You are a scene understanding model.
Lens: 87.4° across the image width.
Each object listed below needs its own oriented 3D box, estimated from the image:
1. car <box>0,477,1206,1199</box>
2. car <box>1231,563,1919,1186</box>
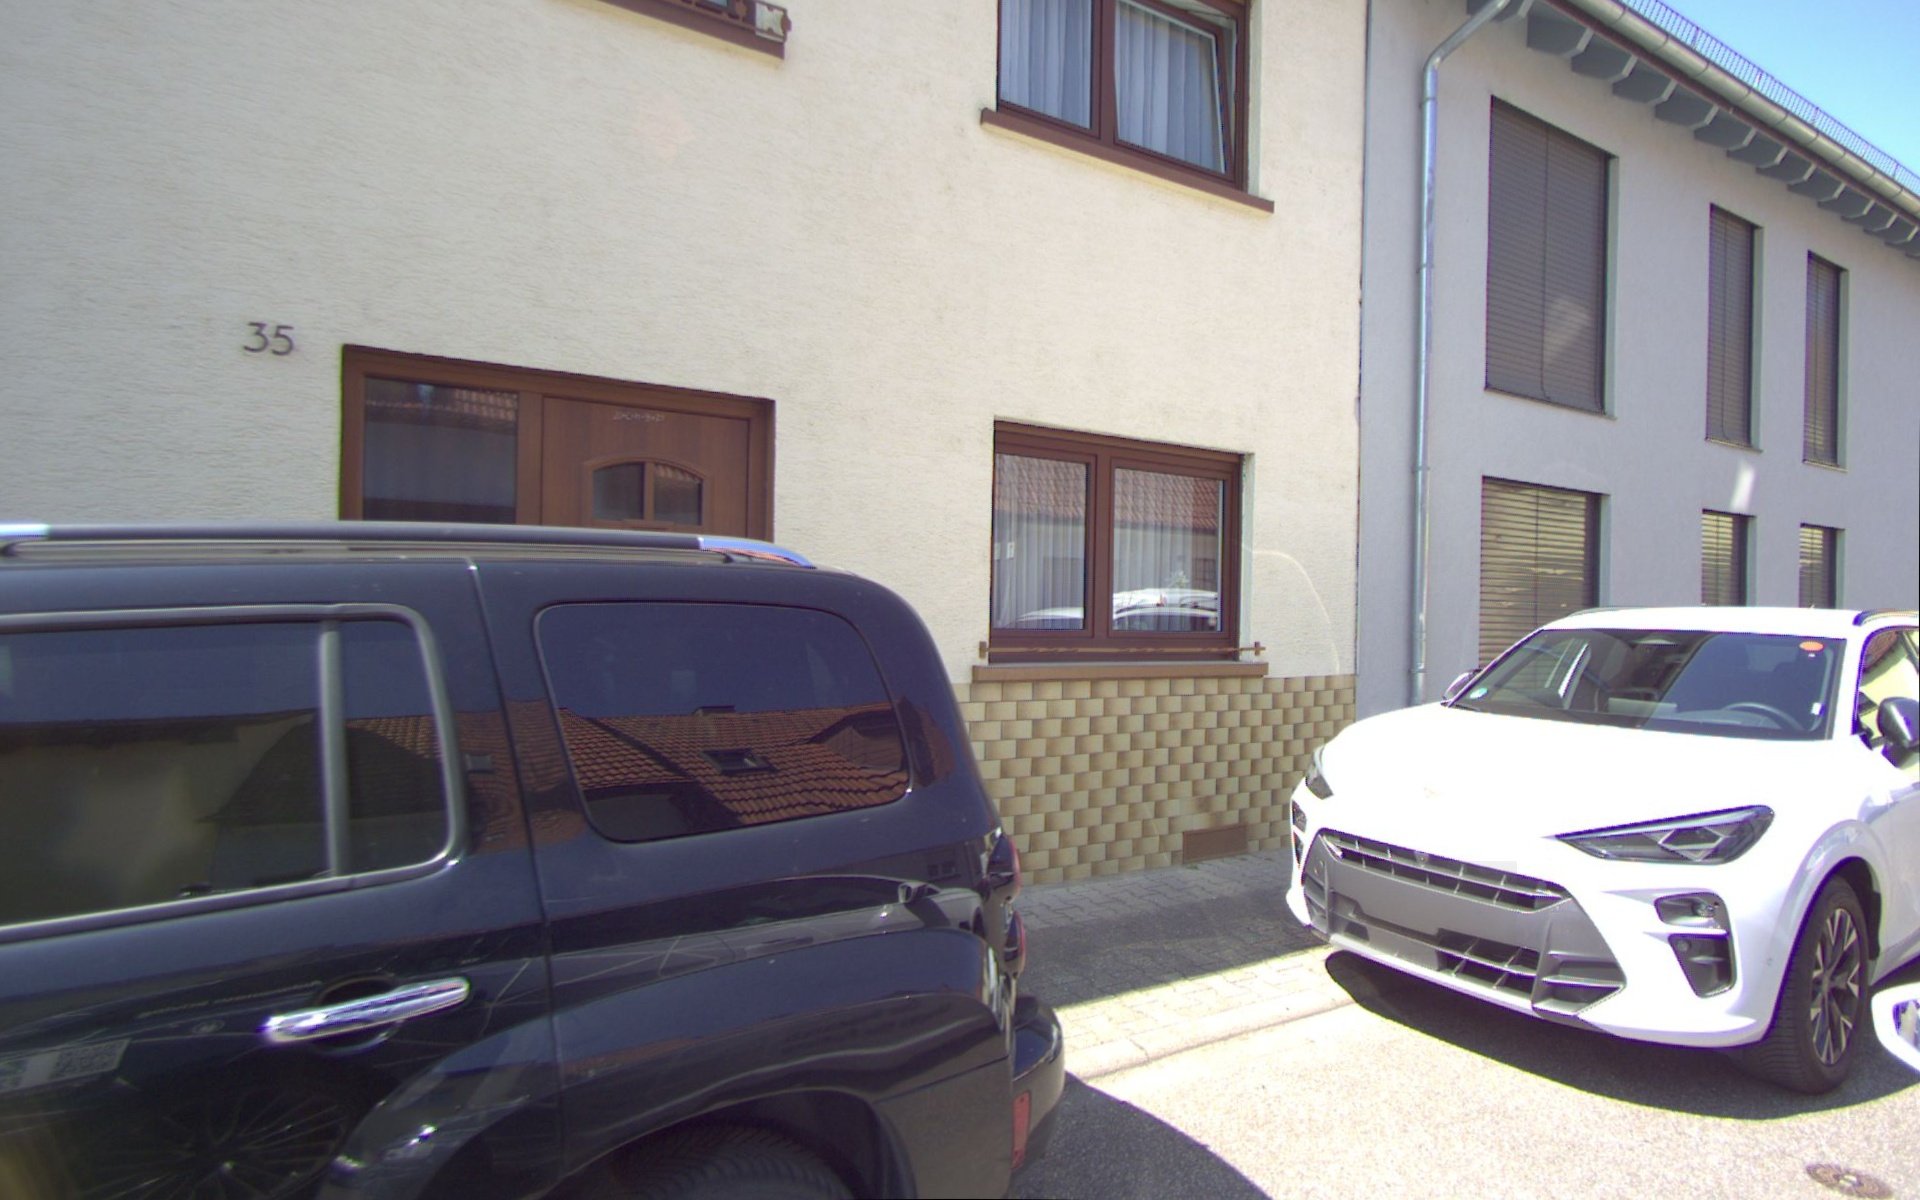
[{"bbox_3d":[-1.645,0.697,1.739,3.941,1.636,1.715,1,-2,-29],"label":"car"},{"bbox_3d":[3.386,0.790,4.586,4.302,1.636,1.764,2,-2,-33],"label":"car"}]
